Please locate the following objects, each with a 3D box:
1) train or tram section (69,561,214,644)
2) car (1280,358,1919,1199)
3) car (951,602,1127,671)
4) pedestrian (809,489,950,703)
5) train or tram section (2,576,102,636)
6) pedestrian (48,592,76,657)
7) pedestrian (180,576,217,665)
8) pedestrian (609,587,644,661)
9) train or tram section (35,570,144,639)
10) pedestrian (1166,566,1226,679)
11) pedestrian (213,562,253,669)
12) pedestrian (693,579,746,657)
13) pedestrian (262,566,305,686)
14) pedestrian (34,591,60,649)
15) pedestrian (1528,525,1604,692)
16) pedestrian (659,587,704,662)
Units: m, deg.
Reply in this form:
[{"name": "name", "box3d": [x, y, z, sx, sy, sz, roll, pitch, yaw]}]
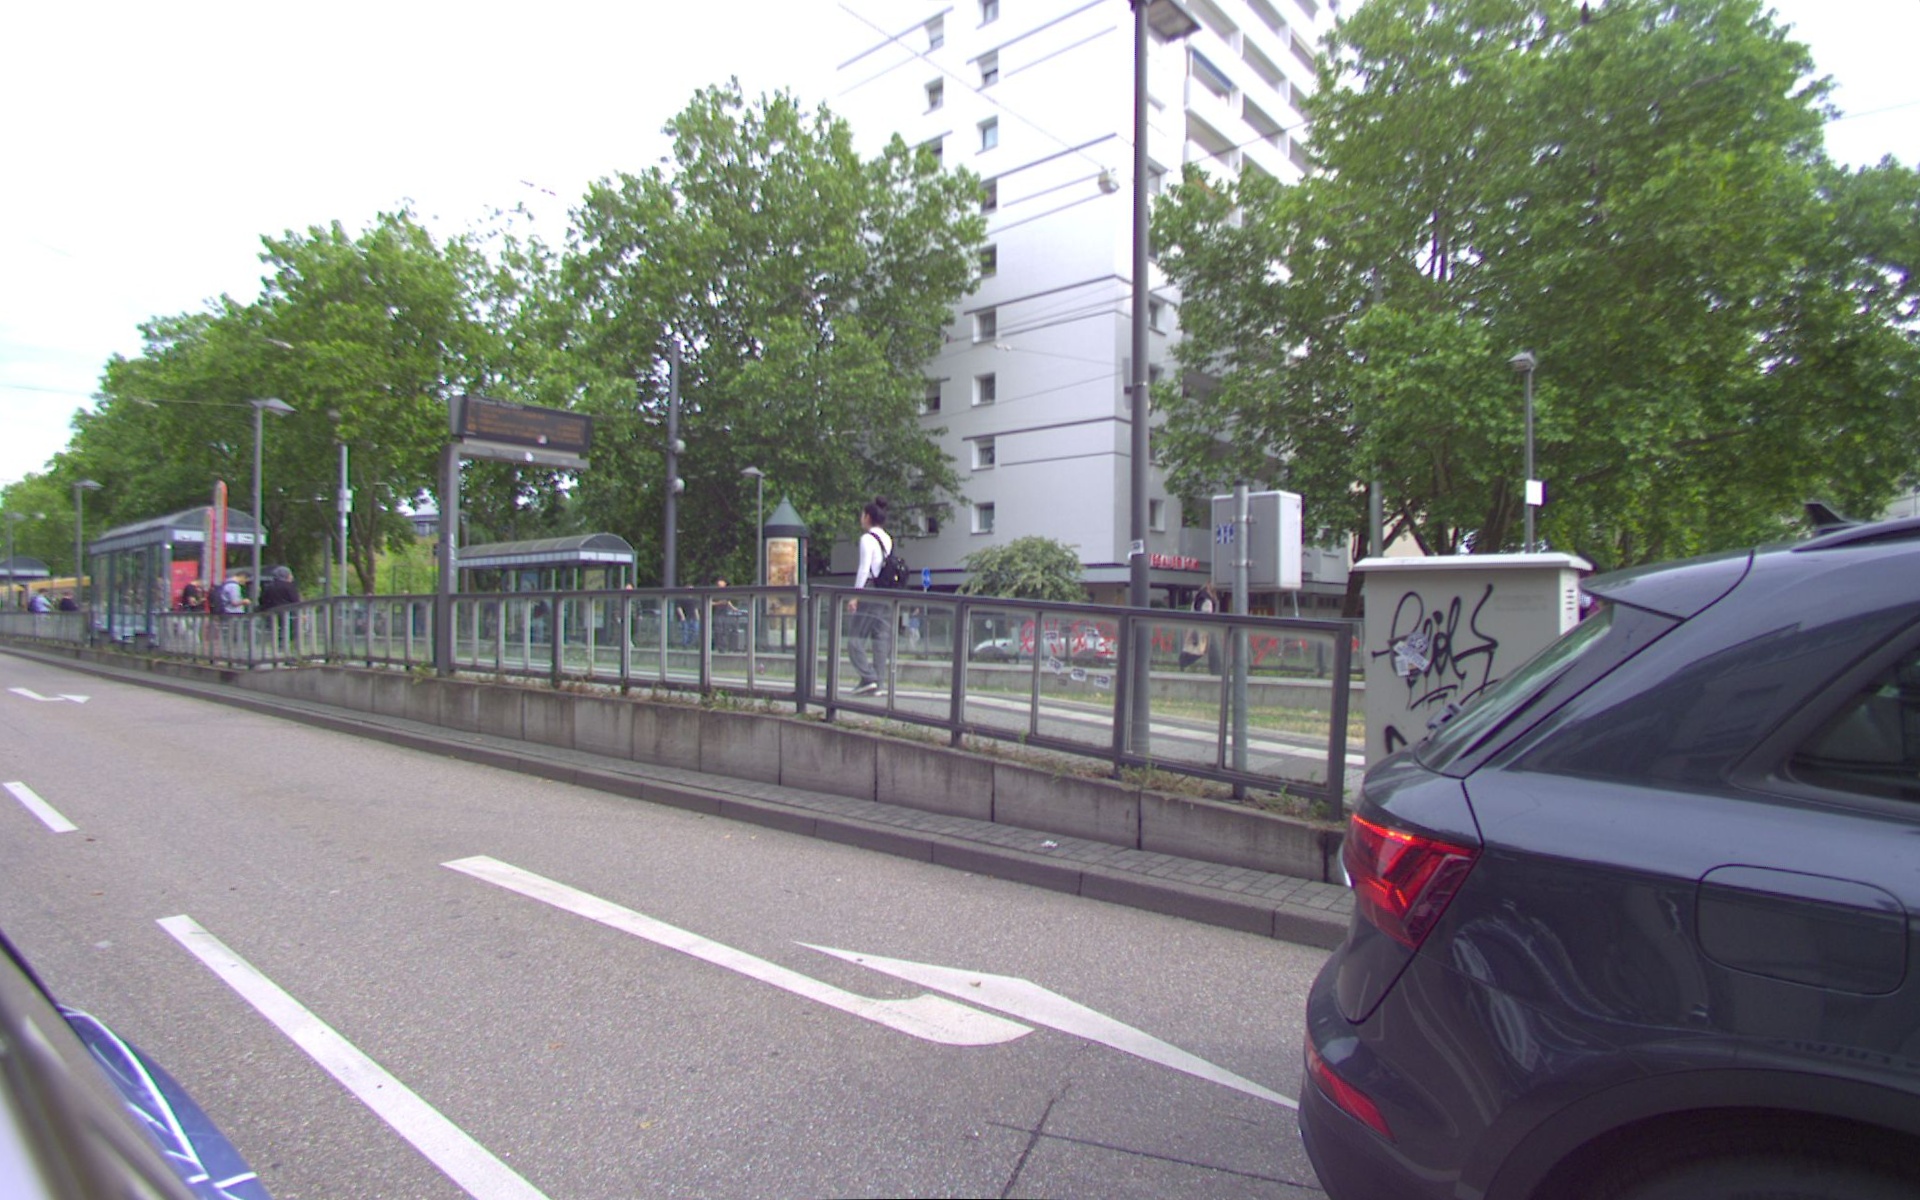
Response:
[{"name": "train or tram section", "box3d": [-42.464, 0.162, 52.151, 15.196, 3.781, 3.295, -1, 0, 41]}, {"name": "car", "box3d": [2.695, 0.518, 0.973, 4.225, 1.649, 1.715, -1, 0, 41]}, {"name": "car", "box3d": [1.956, 0.868, 24.766, 3.968, 1.564, 1.923, -1, 0, 19]}, {"name": "pedestrian", "box3d": [-0.686, -0.029, 8.560, 0.979, 1.683, 0.711, -1, 0, 44]}, {"name": "train or tram section", "box3d": [-63.710, 0.435, 70.768, 16.241, 3.781, 3.295, -1, 0, 41]}, {"name": "pedestrian", "box3d": [-25.564, 0.693, 28.823, 0.523, 1.818, 0.607, -1, 0, -35]}, {"name": "pedestrian", "box3d": [-15.920, 0.419, 21.162, 0.467, 1.818, 0.607, -1, 0, -24]}, {"name": "pedestrian", "box3d": [-8.844, 0.627, 26.831, 0.553, 1.945, 0.690, -1, 0, 41]}, {"name": "train or tram section", "box3d": [-52.863, 0.296, 61.284, 12.543, 3.781, 3.295, -1, 0, 41]}, {"name": "pedestrian", "box3d": [3.805, 0.347, 16.333, 0.666, 1.763, 0.728, -1, 0, 41]}, {"name": "pedestrian", "box3d": [-12.700, 0.266, 17.670, 0.605, 1.818, 0.469, -1, 0, 45]}, {"name": "pedestrian", "box3d": [-5.633, 0.416, 23.747, 0.850, 1.769, 0.871, -1, 0, 41]}, {"name": "pedestrian", "box3d": [-10.524, 0.389, 15.742, 0.513, 1.818, 0.606, -1, 0, -37]}, {"name": "pedestrian", "box3d": [-29.033, 0.623, 32.185, 0.523, 1.818, 0.607, -1, 0, -35]}, {"name": "pedestrian", "box3d": [7.430, 0.099, 12.411, 0.666, 1.965, 0.728, -1, 0, 41]}, {"name": "pedestrian", "box3d": [-7.052, 0.611, 25.630, 0.666, 1.848, 0.871, -1, 0, 41]}]
